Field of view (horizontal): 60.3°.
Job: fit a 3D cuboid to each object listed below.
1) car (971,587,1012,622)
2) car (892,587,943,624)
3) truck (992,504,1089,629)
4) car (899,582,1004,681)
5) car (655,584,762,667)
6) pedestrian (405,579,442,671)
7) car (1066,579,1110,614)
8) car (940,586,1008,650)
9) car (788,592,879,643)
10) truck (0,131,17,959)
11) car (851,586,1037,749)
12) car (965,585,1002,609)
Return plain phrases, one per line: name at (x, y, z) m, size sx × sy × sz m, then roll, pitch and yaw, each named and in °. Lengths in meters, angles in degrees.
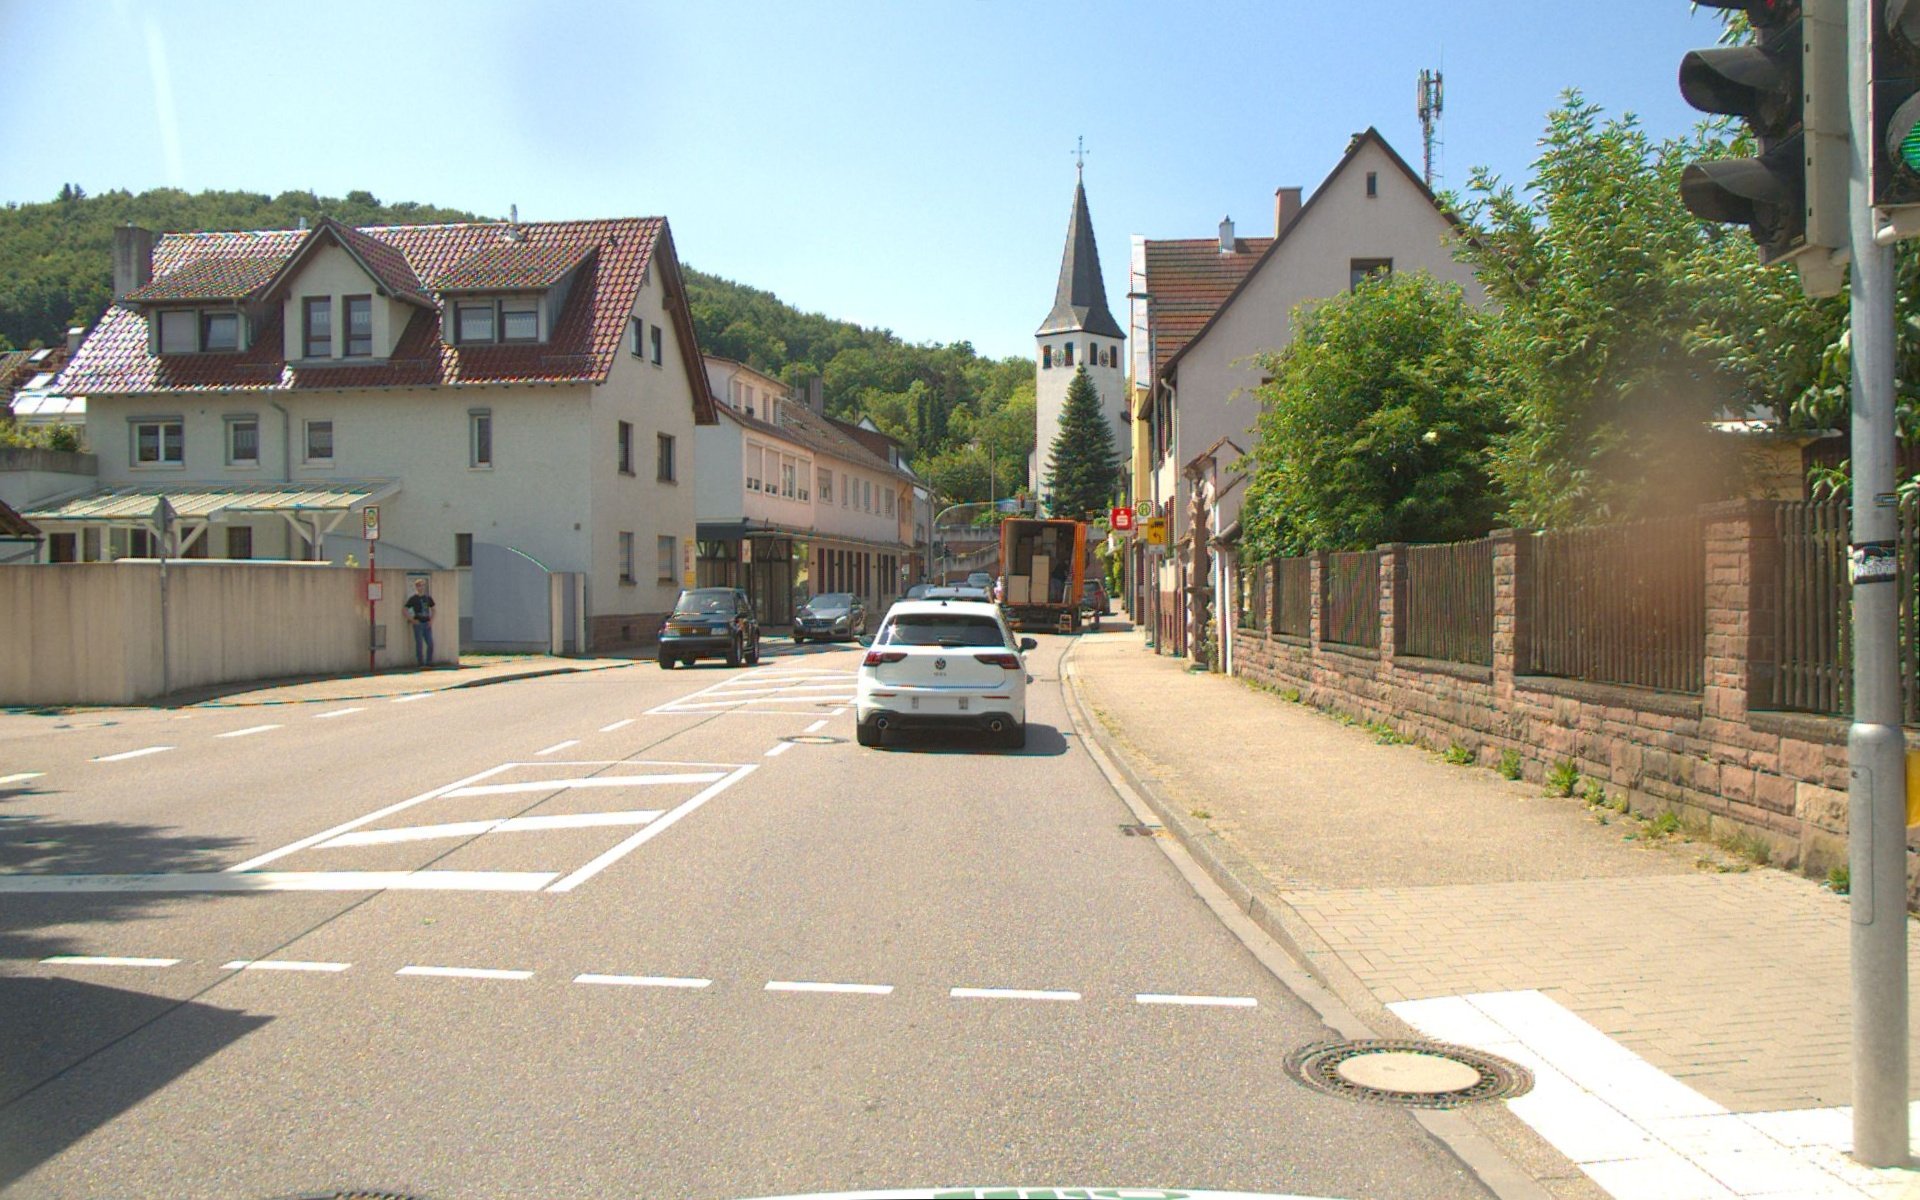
car at (1.448, 0.209, 75.856) m, size 1.778 × 1.545 × 4.000 m, roll -2°, pitch 0°, yaw 1°
car at (-1.841, 0.237, 73.493) m, size 1.757 × 1.534 × 4.136 m, roll -2°, pitch 0°, yaw 5°
truck at (3.080, -1.147, 62.583) m, size 3.296 × 4.243 × 9.522 m, roll -2°, pitch 0°, yaw 3°
car at (-0.116, 0.562, 30.551) m, size 1.778 × 1.657 × 4.000 m, roll -2°, pitch 0°, yaw 1°
car at (-5.356, 0.511, 35.609) m, size 1.703 × 1.680 × 3.669 m, roll 0°, pitch 0°, yaw 0°
pedestrian at (-10.636, 0.489, 32.811) m, size 0.425 × 1.795 × 0.557 m, roll -1°, pitch 0°, yaw 20°
car at (5.979, -0.131, 77.757) m, size 1.778 × 1.545 × 4.000 m, roll -2°, pitch 0°, yaw 1°
car at (0.397, 0.503, 46.130) m, size 1.778 × 1.657 × 4.000 m, roll -2°, pitch 0°, yaw 1°
car at (-3.849, 0.513, 51.102) m, size 1.823 × 1.467 × 4.221 m, roll -2°, pitch 0°, yaw 9°
truck at (-4.955, -0.224, 3.562) m, size 2.451 × 3.292 × 6.038 m, roll -2°, pitch 0°, yaw -2°
car at (-0.119, 0.663, 17.948) m, size 1.778 × 1.545 × 4.000 m, roll 1°, pitch 0°, yaw 1°
car at (1.488, -0.170, 104.012) m, size 1.823 × 1.467 × 4.220 m, roll -2°, pitch 0°, yaw 7°
